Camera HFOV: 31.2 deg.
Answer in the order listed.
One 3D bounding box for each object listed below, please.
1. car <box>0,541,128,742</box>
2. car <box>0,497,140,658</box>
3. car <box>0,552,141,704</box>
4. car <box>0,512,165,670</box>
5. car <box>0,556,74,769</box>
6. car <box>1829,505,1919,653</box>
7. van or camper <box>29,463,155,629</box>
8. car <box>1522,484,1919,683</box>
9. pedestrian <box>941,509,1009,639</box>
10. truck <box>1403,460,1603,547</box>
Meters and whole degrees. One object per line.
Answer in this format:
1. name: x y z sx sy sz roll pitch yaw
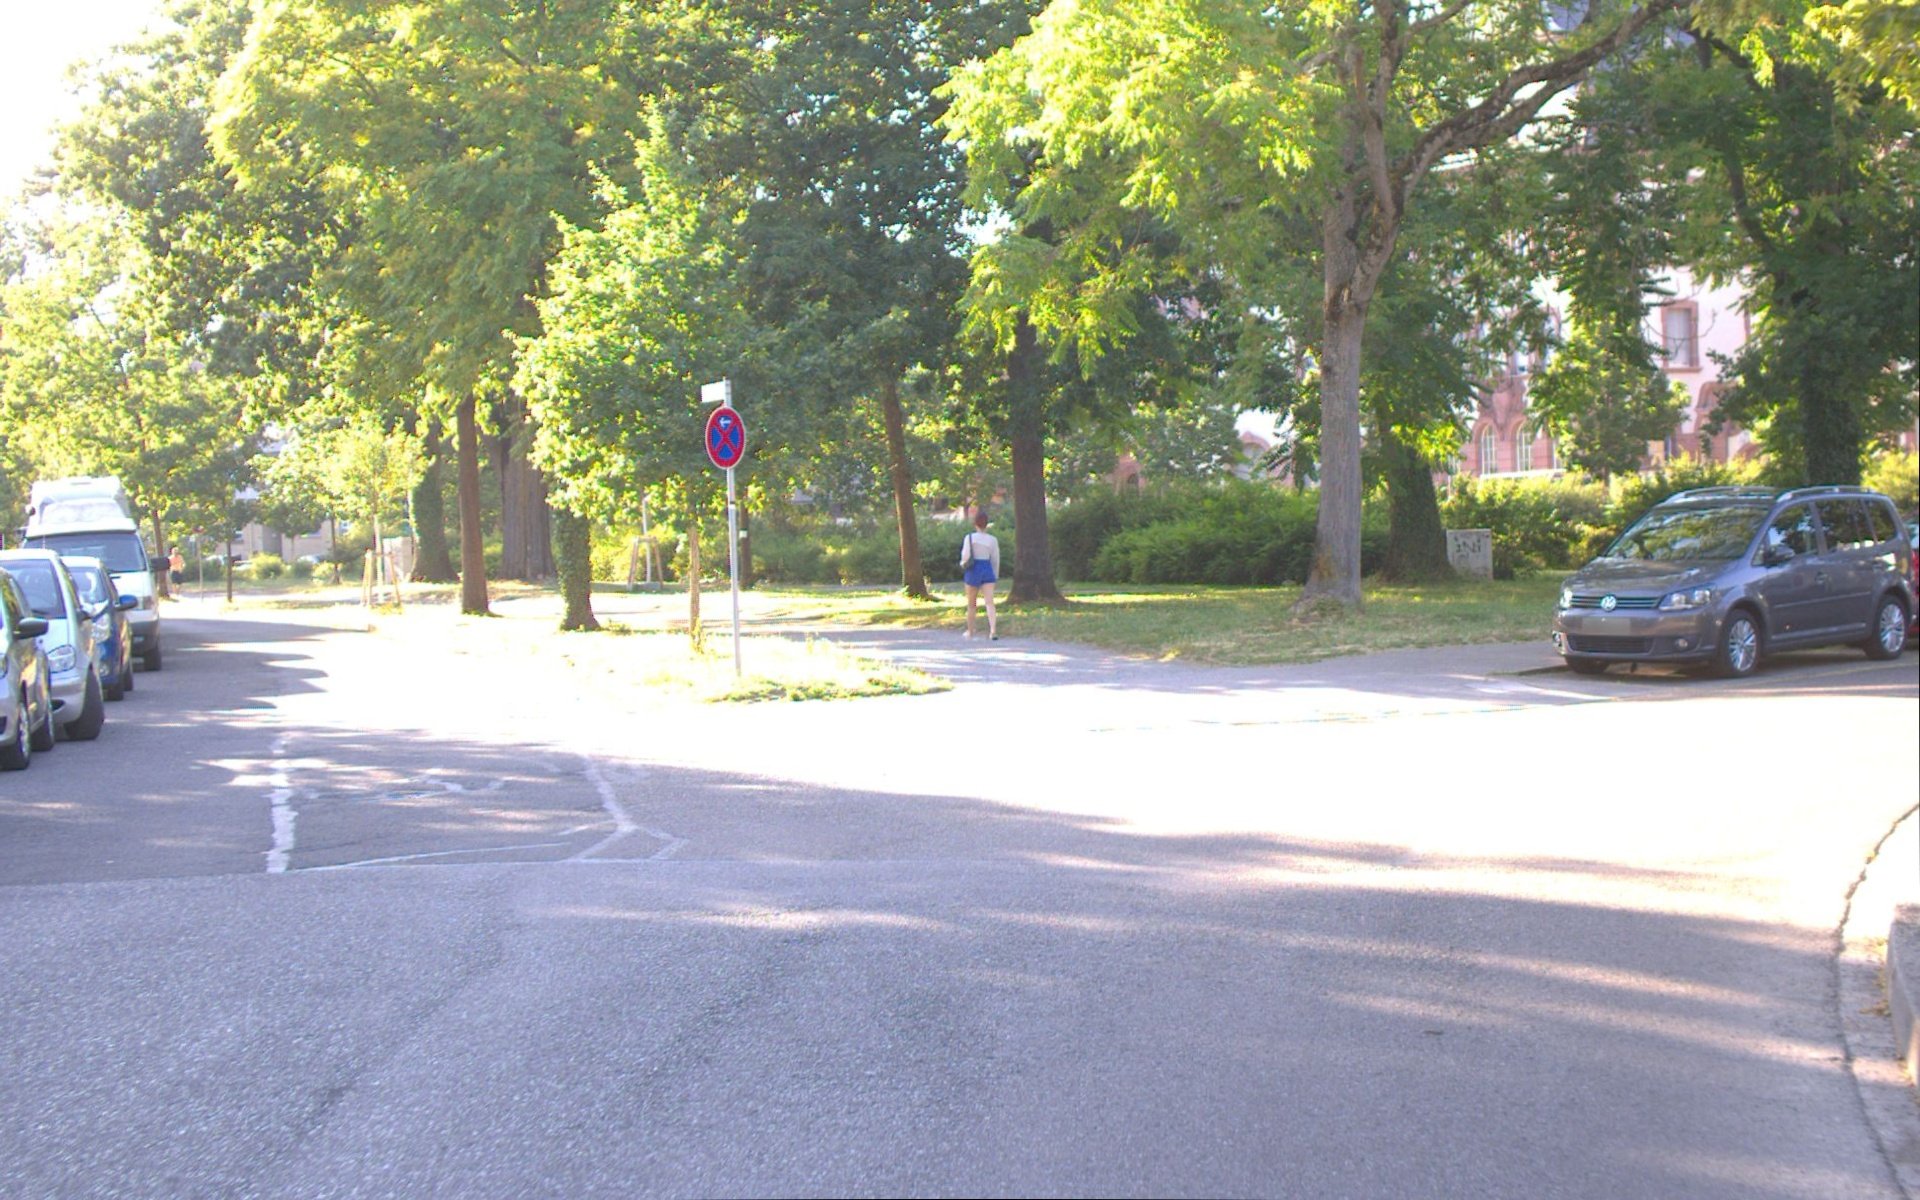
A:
1. car: -8.065 0.313 29.318 1.704 1.573 3.698 -2 1 -11
2. car: -13.904 -0.384 53.515 1.850 2.347 5.188 -2 1 -17
3. car: -9.740 0.268 37.048 1.615 1.496 3.698 -2 1 -11
4. car: -11.599 -0.160 45.662 1.850 1.939 4.842 -2 1 -11
5. car: -7.572 0.450 25.439 1.612 1.435 3.607 -3 2 -10
6. car: 10.436 -0.257 35.339 1.391 1.418 3.418 2 4 44
7. van or camper: -16.180 -1.028 64.163 2.089 2.898 6.334 -2 1 -14
8. car: 7.209 -0.216 31.858 1.806 1.670 4.310 2 4 44
9. pedestrian: 0.181 -0.332 42.732 0.773 1.569 0.768 -2 1 -1
10. truck: 19.786 -3.489 125.693 2.604 3.019 8.009 -2 2 -31
